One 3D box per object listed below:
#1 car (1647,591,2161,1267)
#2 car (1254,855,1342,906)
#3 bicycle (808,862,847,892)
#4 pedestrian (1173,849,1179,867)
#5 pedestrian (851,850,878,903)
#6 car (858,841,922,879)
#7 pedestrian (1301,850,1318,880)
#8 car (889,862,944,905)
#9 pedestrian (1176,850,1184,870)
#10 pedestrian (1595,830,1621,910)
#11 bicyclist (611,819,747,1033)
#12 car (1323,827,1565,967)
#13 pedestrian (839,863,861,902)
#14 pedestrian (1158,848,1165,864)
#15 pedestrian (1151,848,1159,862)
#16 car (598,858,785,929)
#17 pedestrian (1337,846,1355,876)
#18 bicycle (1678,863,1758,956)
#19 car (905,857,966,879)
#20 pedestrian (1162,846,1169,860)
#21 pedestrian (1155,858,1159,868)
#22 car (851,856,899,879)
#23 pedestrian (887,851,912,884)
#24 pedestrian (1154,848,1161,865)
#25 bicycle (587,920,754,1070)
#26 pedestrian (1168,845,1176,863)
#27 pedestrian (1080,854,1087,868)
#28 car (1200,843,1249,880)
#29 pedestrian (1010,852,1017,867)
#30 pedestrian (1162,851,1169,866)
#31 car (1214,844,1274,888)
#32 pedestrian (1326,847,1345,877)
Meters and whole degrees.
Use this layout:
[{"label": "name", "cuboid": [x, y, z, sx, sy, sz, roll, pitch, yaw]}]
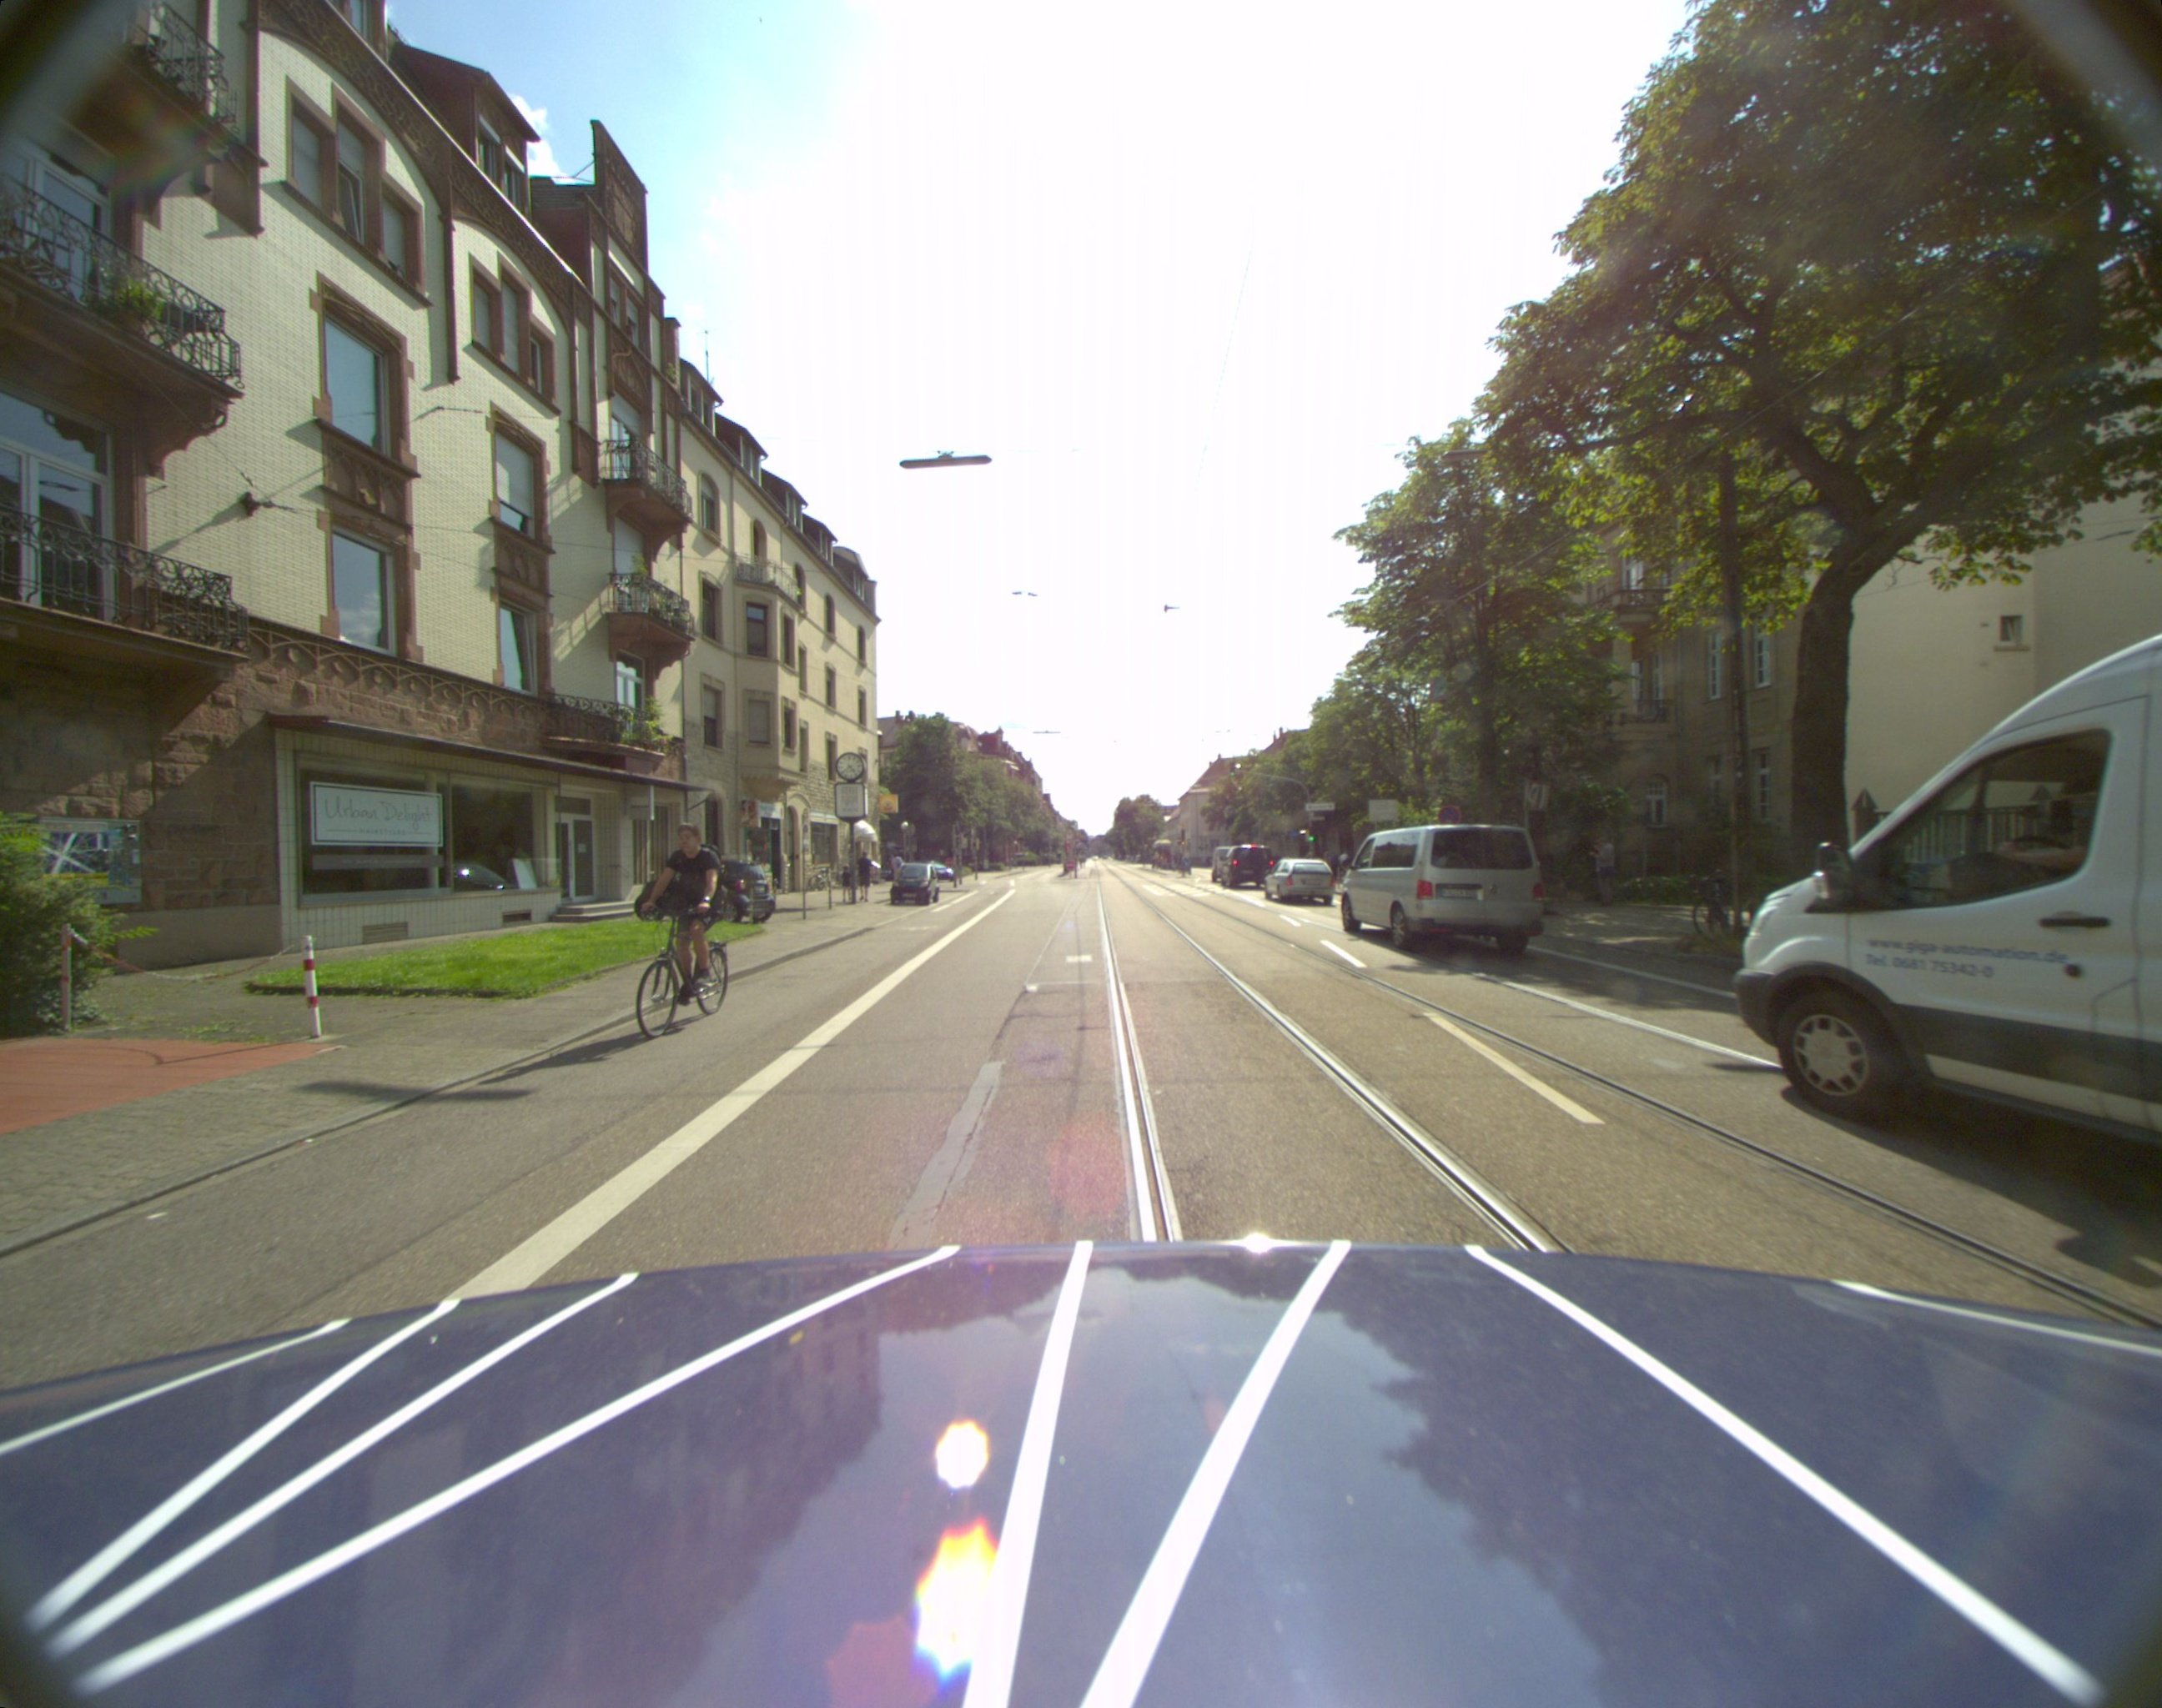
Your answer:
[{"label": "car", "cuboid": [5.121, 0.259, 2.207, 2.321, 2.492, 6.364, -1, 0, 2]}, {"label": "car", "cuboid": [7.188, 0.804, 25.572, 1.697, 1.472, 4.481, 1, 1, 1]}, {"label": "bicycle", "cuboid": [-11.125, 0.987, 33.429, 0.807, 1.171, 2.751, -3, 1, -2]}, {"label": "pedestrian", "cuboid": [8.330, 0.356, 66.688, 0.428, 1.495, 0.704, 0, 1, 1]}, {"label": "pedestrian", "cuboid": [-7.696, 0.783, 27.001, 0.661, 1.831, 0.873, 5, 0, -7]}, {"label": "car", "cuboid": [-15.166, 0.529, 60.138, 2.397, 2.777, 6.657, 0, -1, -38]}, {"label": "pedestrian", "cuboid": [12.732, 0.613, 42.354, 0.521, 1.647, 0.751, -3, 1, -13]}, {"label": "car", "cuboid": [-6.202, 1.071, 28.947, 1.517, 1.490, 2.793, 1, 0, -1]}, {"label": "pedestrian", "cuboid": [7.813, 0.457, 59.757, 0.538, 1.533, 0.516, -1, -1, 0]}, {"label": "pedestrian", "cuboid": [13.539, 0.402, 19.524, 0.484, 2.002, 0.807, -2, 2, 34]}, {"label": "bicyclist", "cuboid": [-3.931, 0.659, 7.530, 0.608, 1.937, 1.130, -3, 1, 1]}, {"label": "car", "cuboid": [5.901, 0.596, 13.230, 1.991, 1.951, 5.180, 0, 0, 3]}, {"label": "pedestrian", "cuboid": [-8.182, 1.012, 26.922, 0.571, 1.318, 0.442, 4, 0, -7]}, {"label": "pedestrian", "cuboid": [8.465, 0.214, 80.025, 0.657, 1.632, 0.638, 2, 1, 1]}, {"label": "pedestrian", "cuboid": [8.228, 0.102, 84.427, 0.657, 1.598, 0.638, 1, 1, -5]}, {"label": "car", "cuboid": [-9.147, 0.889, 18.055, 3.409, 1.515, 1.972, 1, 1, 3]}, {"label": "pedestrian", "cuboid": [14.990, 0.406, 42.954, 0.613, 1.647, 0.725, -3, 0, -13]}, {"label": "bicycle", "cuboid": [10.391, 0.853, 12.362, 2.060, 1.301, 0.619, -4, 1, -40]}, {"label": "car", "cuboid": [-10.025, 0.970, 52.182, 3.989, 1.410, 1.896, -1, 0, 36]}, {"label": "pedestrian", "cuboid": [8.532, -0.084, 76.383, 0.605, 1.329, 0.406, 1, 1, -5]}, {"label": "pedestrian", "cuboid": [7.783, 0.919, 77.813, 0.340, 0.925, 0.346, 1, 1, -6]}, {"label": "car", "cuboid": [-15.214, 1.021, 55.970, 1.731, 1.546, 4.102, -5, 2, -41]}, {"label": "pedestrian", "cuboid": [-10.071, 0.744, 42.142, 1.013, 1.758, 0.850, 5, 0, 2]}, {"label": "pedestrian", "cuboid": [7.800, 0.250, 77.635, 0.498, 1.660, 0.678, 1, 1, -5]}, {"label": "bicycle", "cuboid": [-3.909, 1.289, 7.425, 0.617, 1.039, 1.835, 2, 3, 1]}, {"label": "pedestrian", "cuboid": [8.696, -0.041, 72.476, 0.473, 1.647, 0.746, 6, 1, 0]}, {"label": "pedestrian", "cuboid": [0.315, 0.825, 86.971, 0.702, 1.524, 0.557, -3, 1, 1]}, {"label": "car", "cuboid": [8.270, 0.379, 44.245, 1.998, 1.984, 5.088, -1, 1, 2]}, {"label": "pedestrian", "cuboid": [-7.802, 0.633, 88.184, 0.707, 1.645, 0.534, -3, 1, 1]}, {"label": "pedestrian", "cuboid": [8.200, 0.460, 73.806, 0.530, 1.448, 0.692, 1, 1, -1]}, {"label": "car", "cuboid": [7.780, 0.497, 36.697, 1.932, 1.906, 5.123, 1, 1, 2]}, {"label": "pedestrian", "cuboid": [14.718, 0.466, 43.928, 0.624, 1.688, 0.848, -3, 1, -11]}]
